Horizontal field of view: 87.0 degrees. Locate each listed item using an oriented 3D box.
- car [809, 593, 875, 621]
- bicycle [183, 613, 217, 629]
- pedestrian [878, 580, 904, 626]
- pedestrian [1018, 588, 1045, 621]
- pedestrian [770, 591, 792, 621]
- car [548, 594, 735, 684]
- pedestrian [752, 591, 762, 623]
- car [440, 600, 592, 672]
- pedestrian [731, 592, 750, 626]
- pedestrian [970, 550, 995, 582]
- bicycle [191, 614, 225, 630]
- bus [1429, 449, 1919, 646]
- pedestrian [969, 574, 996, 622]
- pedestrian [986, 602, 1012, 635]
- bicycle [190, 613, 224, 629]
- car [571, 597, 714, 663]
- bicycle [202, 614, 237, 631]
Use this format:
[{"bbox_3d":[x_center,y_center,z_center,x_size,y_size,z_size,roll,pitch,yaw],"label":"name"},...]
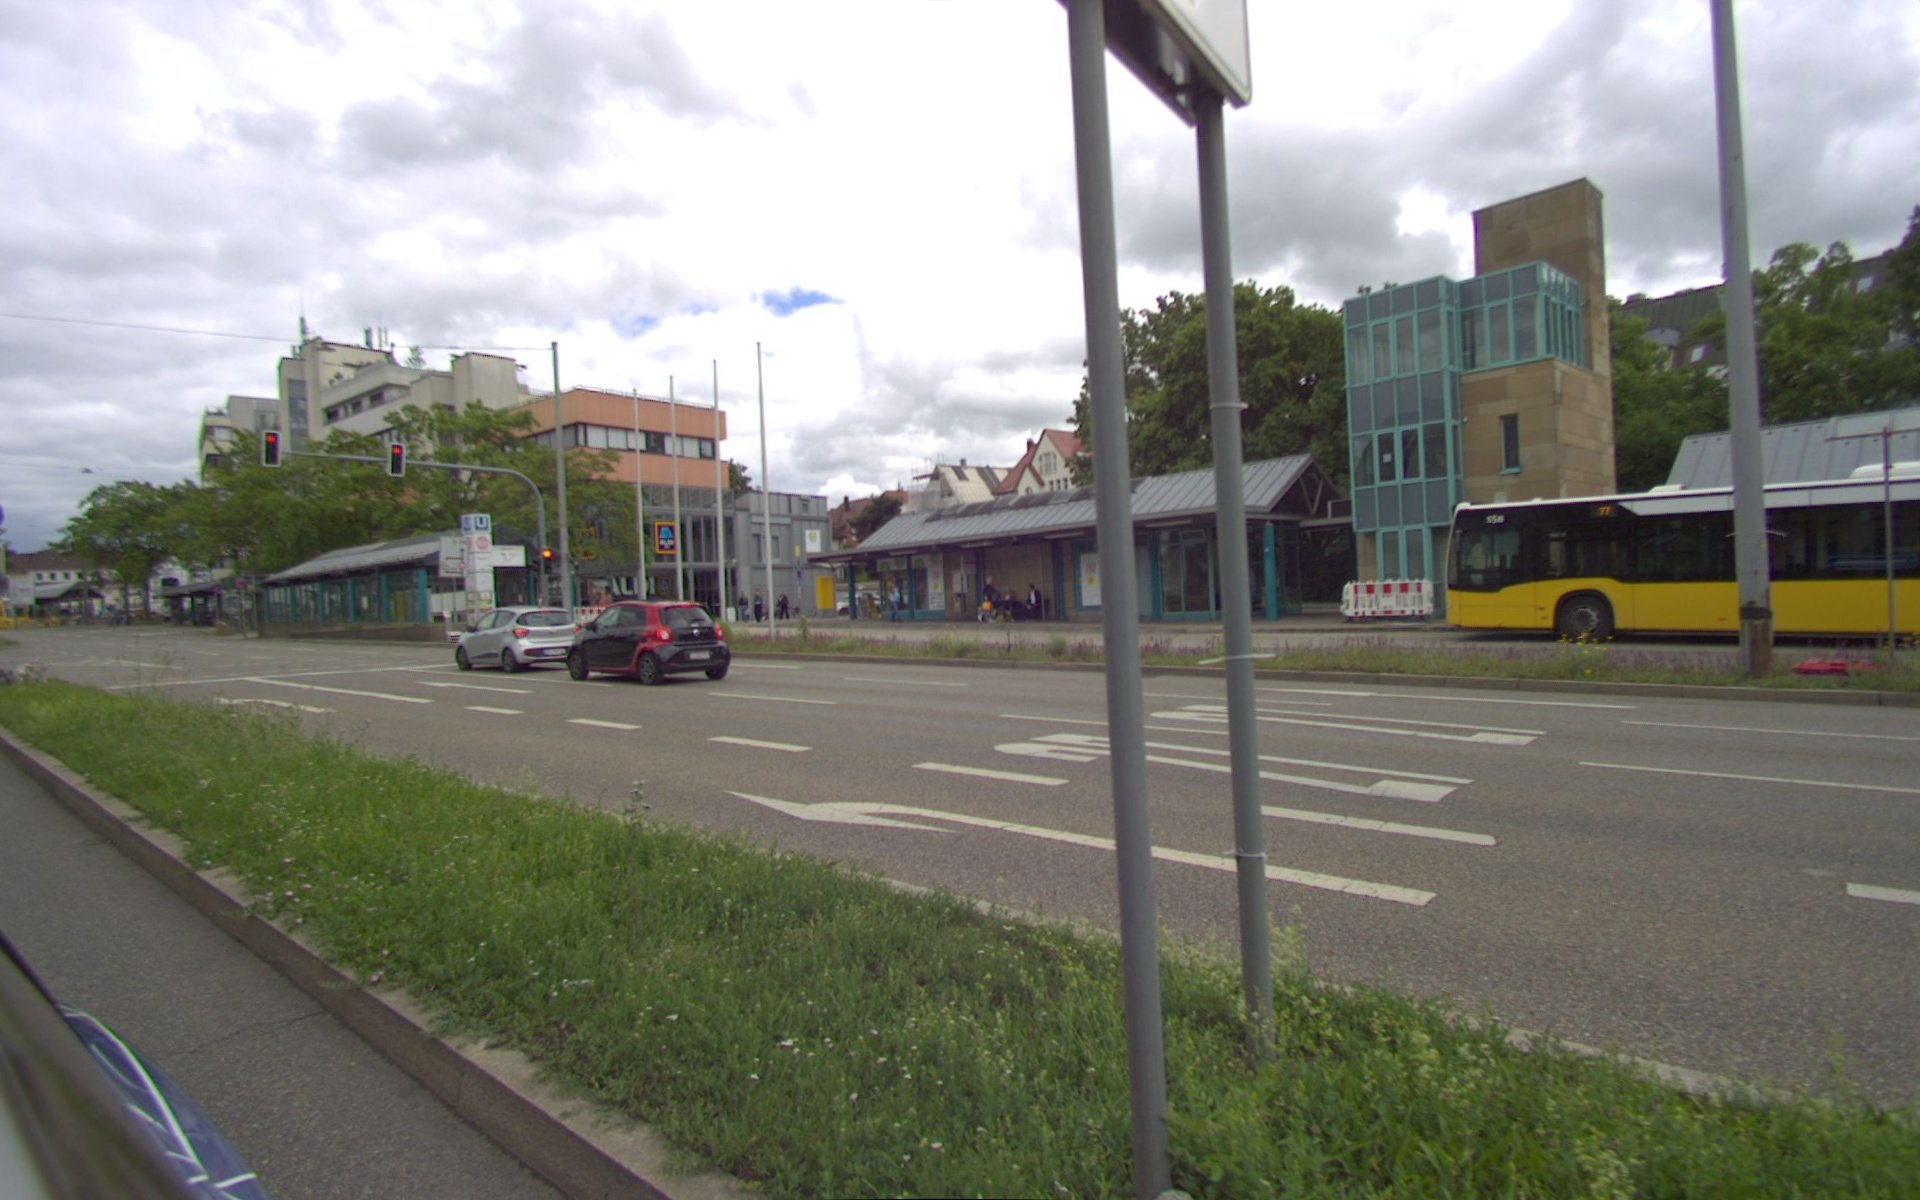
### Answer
[{"bbox_3d":[-7.478,0.422,64.421,1.997,1.608,3.949,-1,1,38],"label":"car"},{"bbox_3d":[-60.755,1.659,80.899,0.542,1.098,2.042,-1,2,42],"label":"bicycle"},{"bbox_3d":[-2.526,0.097,37.139,0.658,1.662,0.612,-1,0,44],"label":"pedestrian"},{"bbox_3d":[2.466,0.151,34.775,0.658,1.129,0.612,-1,0,44],"label":"pedestrian"},{"bbox_3d":[-9.017,0.307,50.988,0.992,1.472,0.583,-2,1,43],"label":"pedestrian"},{"bbox_3d":[-6.151,0.696,19.373,3.766,1.519,1.642,-1,1,40],"label":"car"},{"bbox_3d":[-9.860,0.333,49.198,0.378,1.559,0.485,-2,0,-2],"label":"pedestrian"},{"bbox_3d":[-10.368,0.837,23.525,3.787,1.476,1.727,-3,0,41],"label":"car"},{"bbox_3d":[-10.530,0.434,48.566,0.745,1.559,0.529,-2,0,9],"label":"pedestrian"},{"bbox_3d":[0.805,-1.212,36.681,0.658,1.129,0.612,-1,0,44],"label":"pedestrian"},{"bbox_3d":[-59.377,1.757,79.930,0.542,1.098,2.042,-1,2,42],"label":"bicycle"},{"bbox_3d":[14.403,-0.862,19.357,2.743,3.155,9.447,-4,2,-43],"label":"bus"},{"bbox_3d":[0.795,-0.074,35.361,0.658,1.662,0.612,-1,0,44],"label":"pedestrian"},{"bbox_3d":[1.392,0.648,35.905,0.658,1.129,0.612,-1,0,44],"label":"pedestrian"},{"bbox_3d":[-59.871,1.676,80.485,0.542,1.147,2.042,-1,2,42],"label":"bicycle"},{"bbox_3d":[-8.127,0.719,25.736,4.001,1.519,1.795,-1,1,44],"label":"car"},{"bbox_3d":[-57.293,1.730,78.289,0.541,1.147,2.045,-1,2,37],"label":"bicycle"}]
